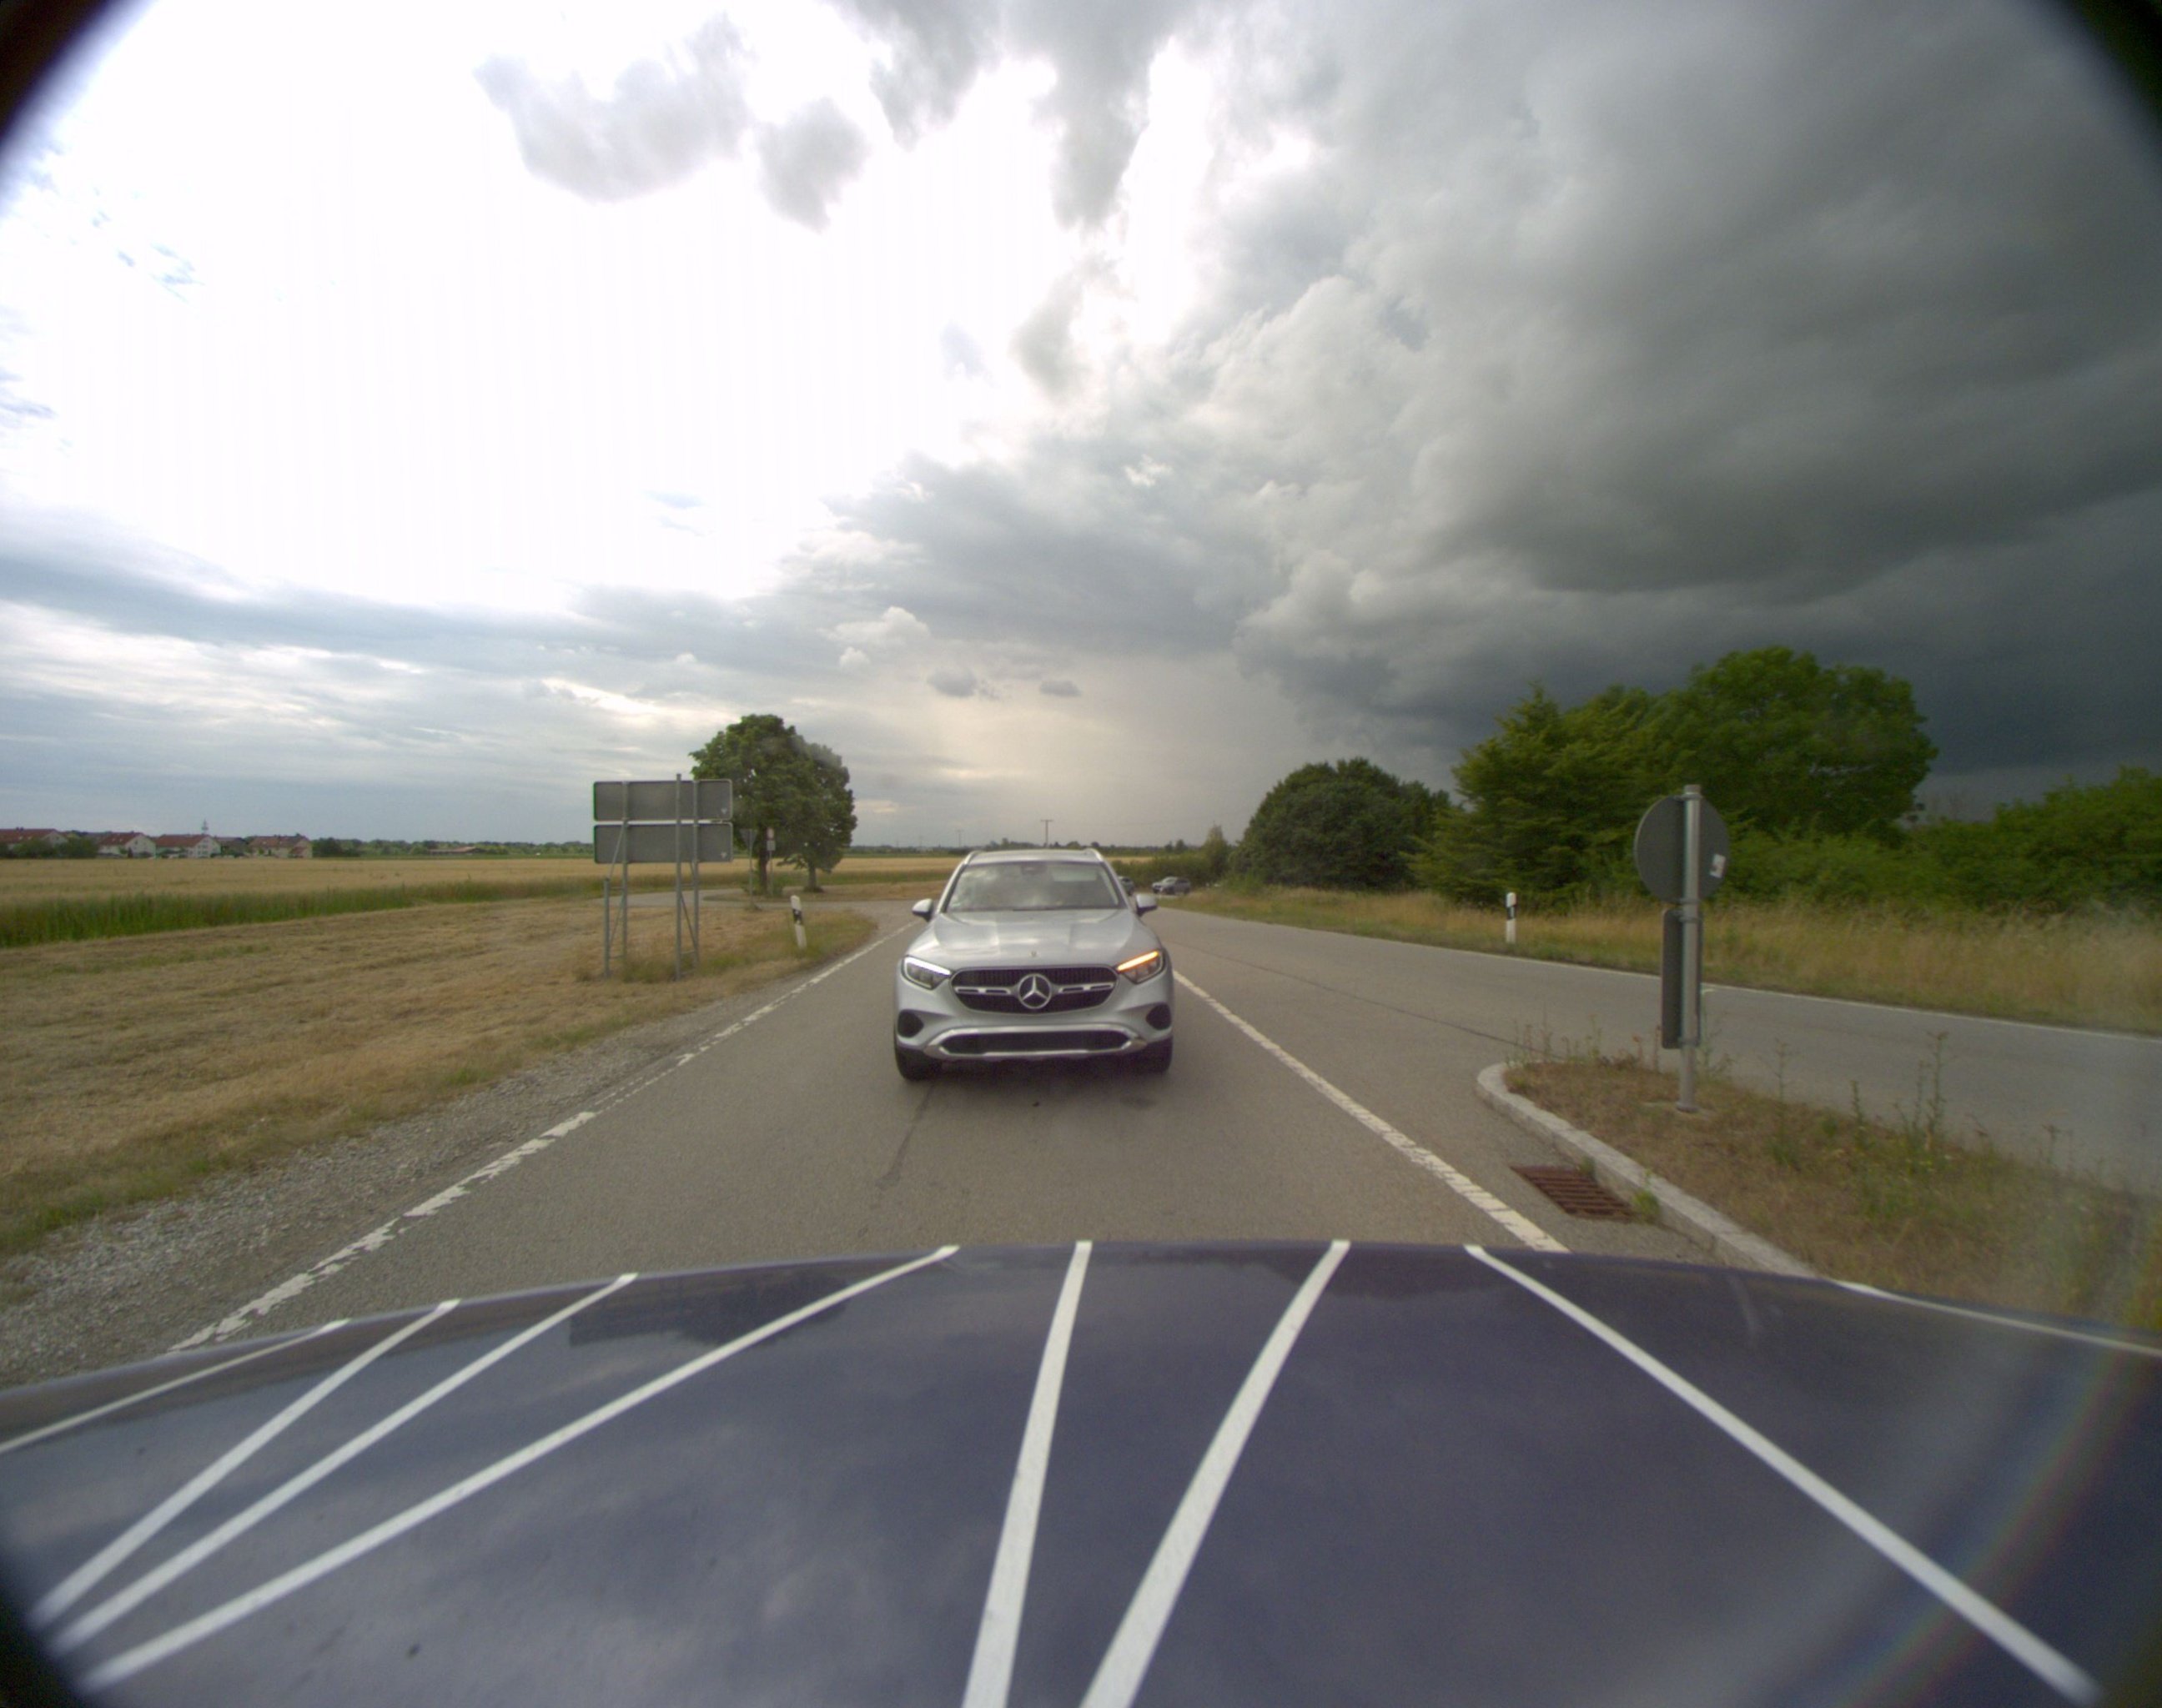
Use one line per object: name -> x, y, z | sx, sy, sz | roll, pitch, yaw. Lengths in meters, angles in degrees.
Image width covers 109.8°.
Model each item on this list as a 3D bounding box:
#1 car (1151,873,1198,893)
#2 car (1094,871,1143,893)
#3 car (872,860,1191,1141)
car -> 9.210, 2.769, 74.433 | 1.994, 1.710, 5.220 | 3, 2, 41
car -> 3.218, 2.390, 64.239 | 1.994, 1.709, 5.220 | 3, -1, 28
car -> -0.414, 0.868, 6.692 | 1.837, 1.577, 4.448 | -1, 0, -4
